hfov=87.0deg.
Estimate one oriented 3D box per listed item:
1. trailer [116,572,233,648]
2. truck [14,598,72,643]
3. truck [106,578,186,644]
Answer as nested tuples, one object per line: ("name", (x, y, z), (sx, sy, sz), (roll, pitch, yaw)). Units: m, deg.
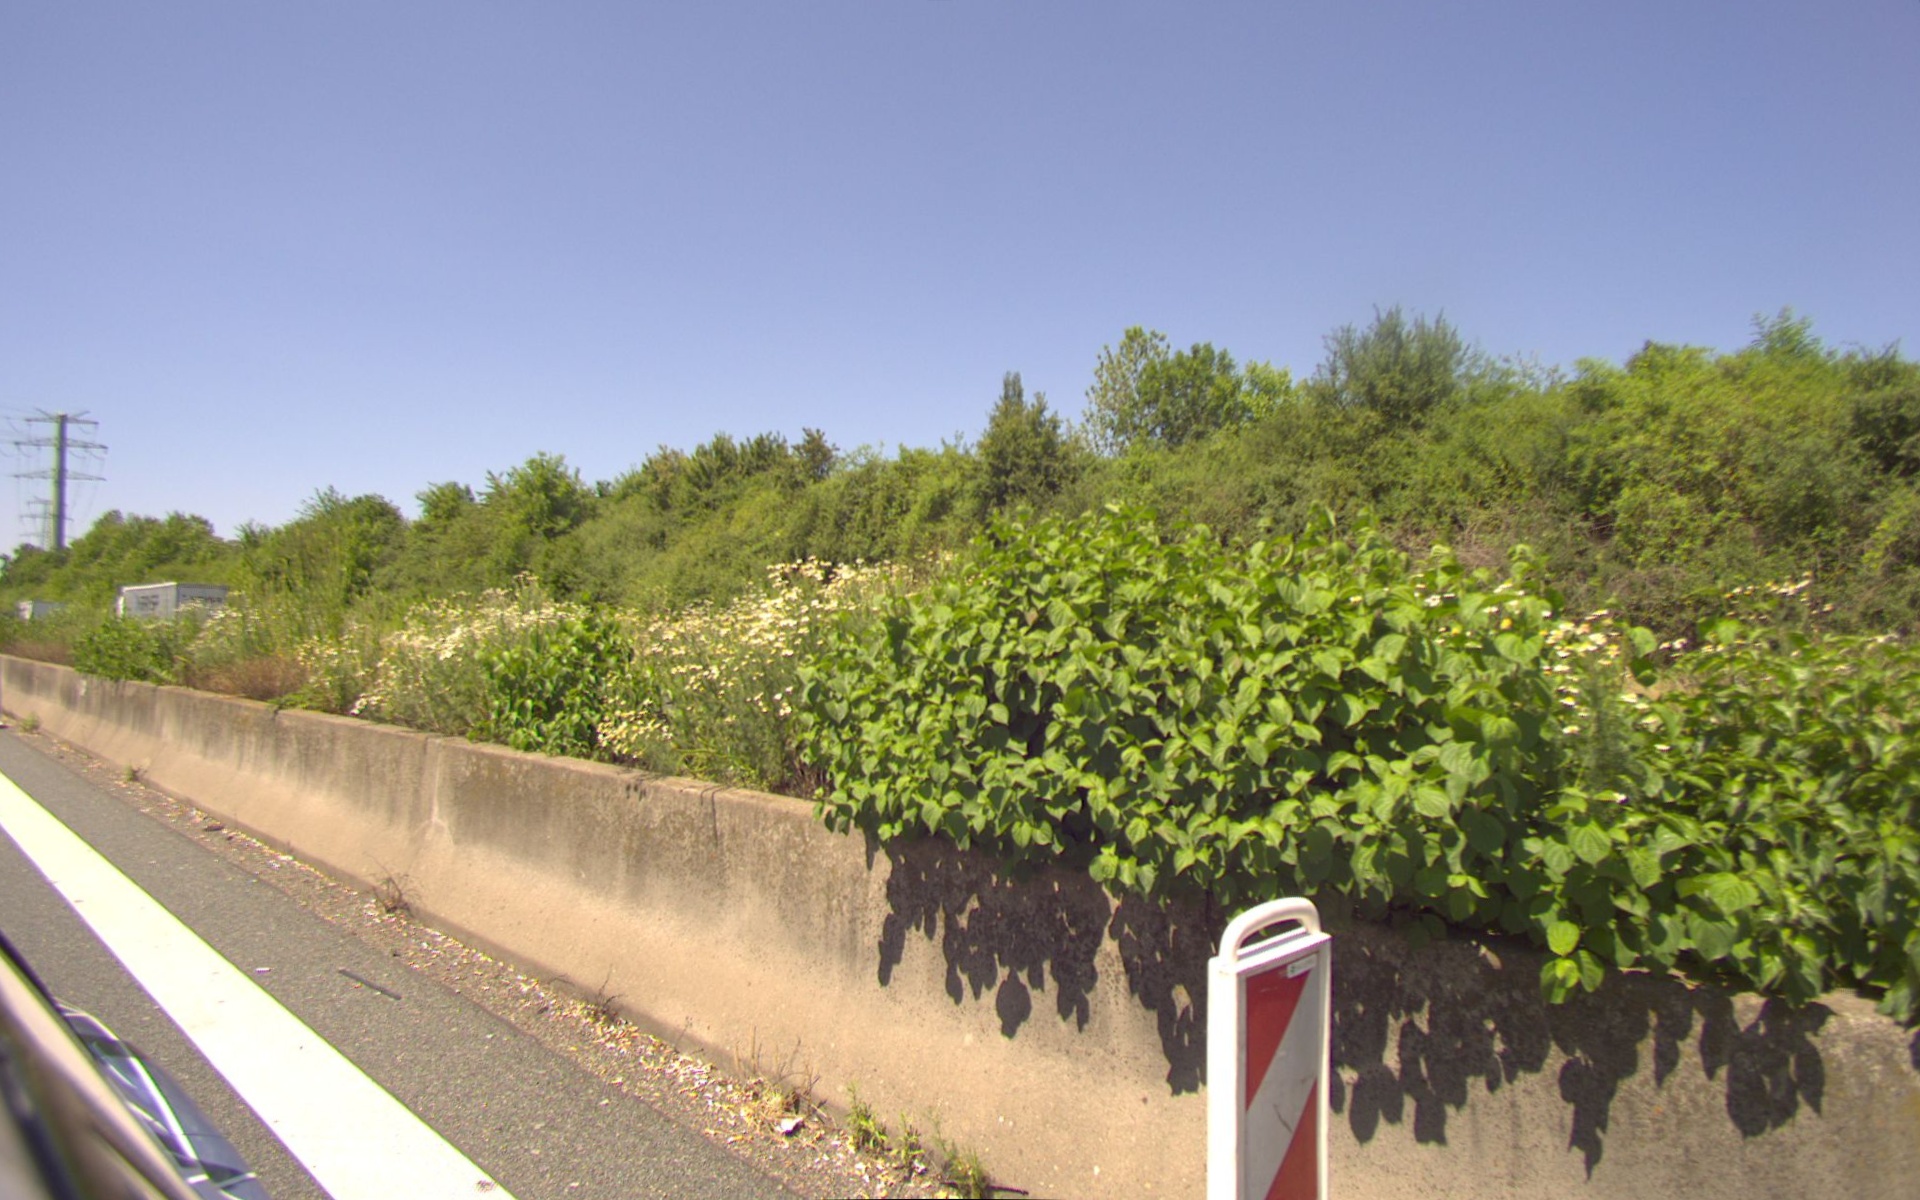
("trailer", (-49.494, 0.717, 63.540), (14.013, 4.199, 2.985), (-1, -5, 41))
("truck", (-86.628, 1.945, 95.578), (9.024, 3.918, 2.734), (-1, -5, 41))
("truck", (-54.973, 0.808, 68.326), (5.803, 4.199, 2.985), (-1, -5, 41))
